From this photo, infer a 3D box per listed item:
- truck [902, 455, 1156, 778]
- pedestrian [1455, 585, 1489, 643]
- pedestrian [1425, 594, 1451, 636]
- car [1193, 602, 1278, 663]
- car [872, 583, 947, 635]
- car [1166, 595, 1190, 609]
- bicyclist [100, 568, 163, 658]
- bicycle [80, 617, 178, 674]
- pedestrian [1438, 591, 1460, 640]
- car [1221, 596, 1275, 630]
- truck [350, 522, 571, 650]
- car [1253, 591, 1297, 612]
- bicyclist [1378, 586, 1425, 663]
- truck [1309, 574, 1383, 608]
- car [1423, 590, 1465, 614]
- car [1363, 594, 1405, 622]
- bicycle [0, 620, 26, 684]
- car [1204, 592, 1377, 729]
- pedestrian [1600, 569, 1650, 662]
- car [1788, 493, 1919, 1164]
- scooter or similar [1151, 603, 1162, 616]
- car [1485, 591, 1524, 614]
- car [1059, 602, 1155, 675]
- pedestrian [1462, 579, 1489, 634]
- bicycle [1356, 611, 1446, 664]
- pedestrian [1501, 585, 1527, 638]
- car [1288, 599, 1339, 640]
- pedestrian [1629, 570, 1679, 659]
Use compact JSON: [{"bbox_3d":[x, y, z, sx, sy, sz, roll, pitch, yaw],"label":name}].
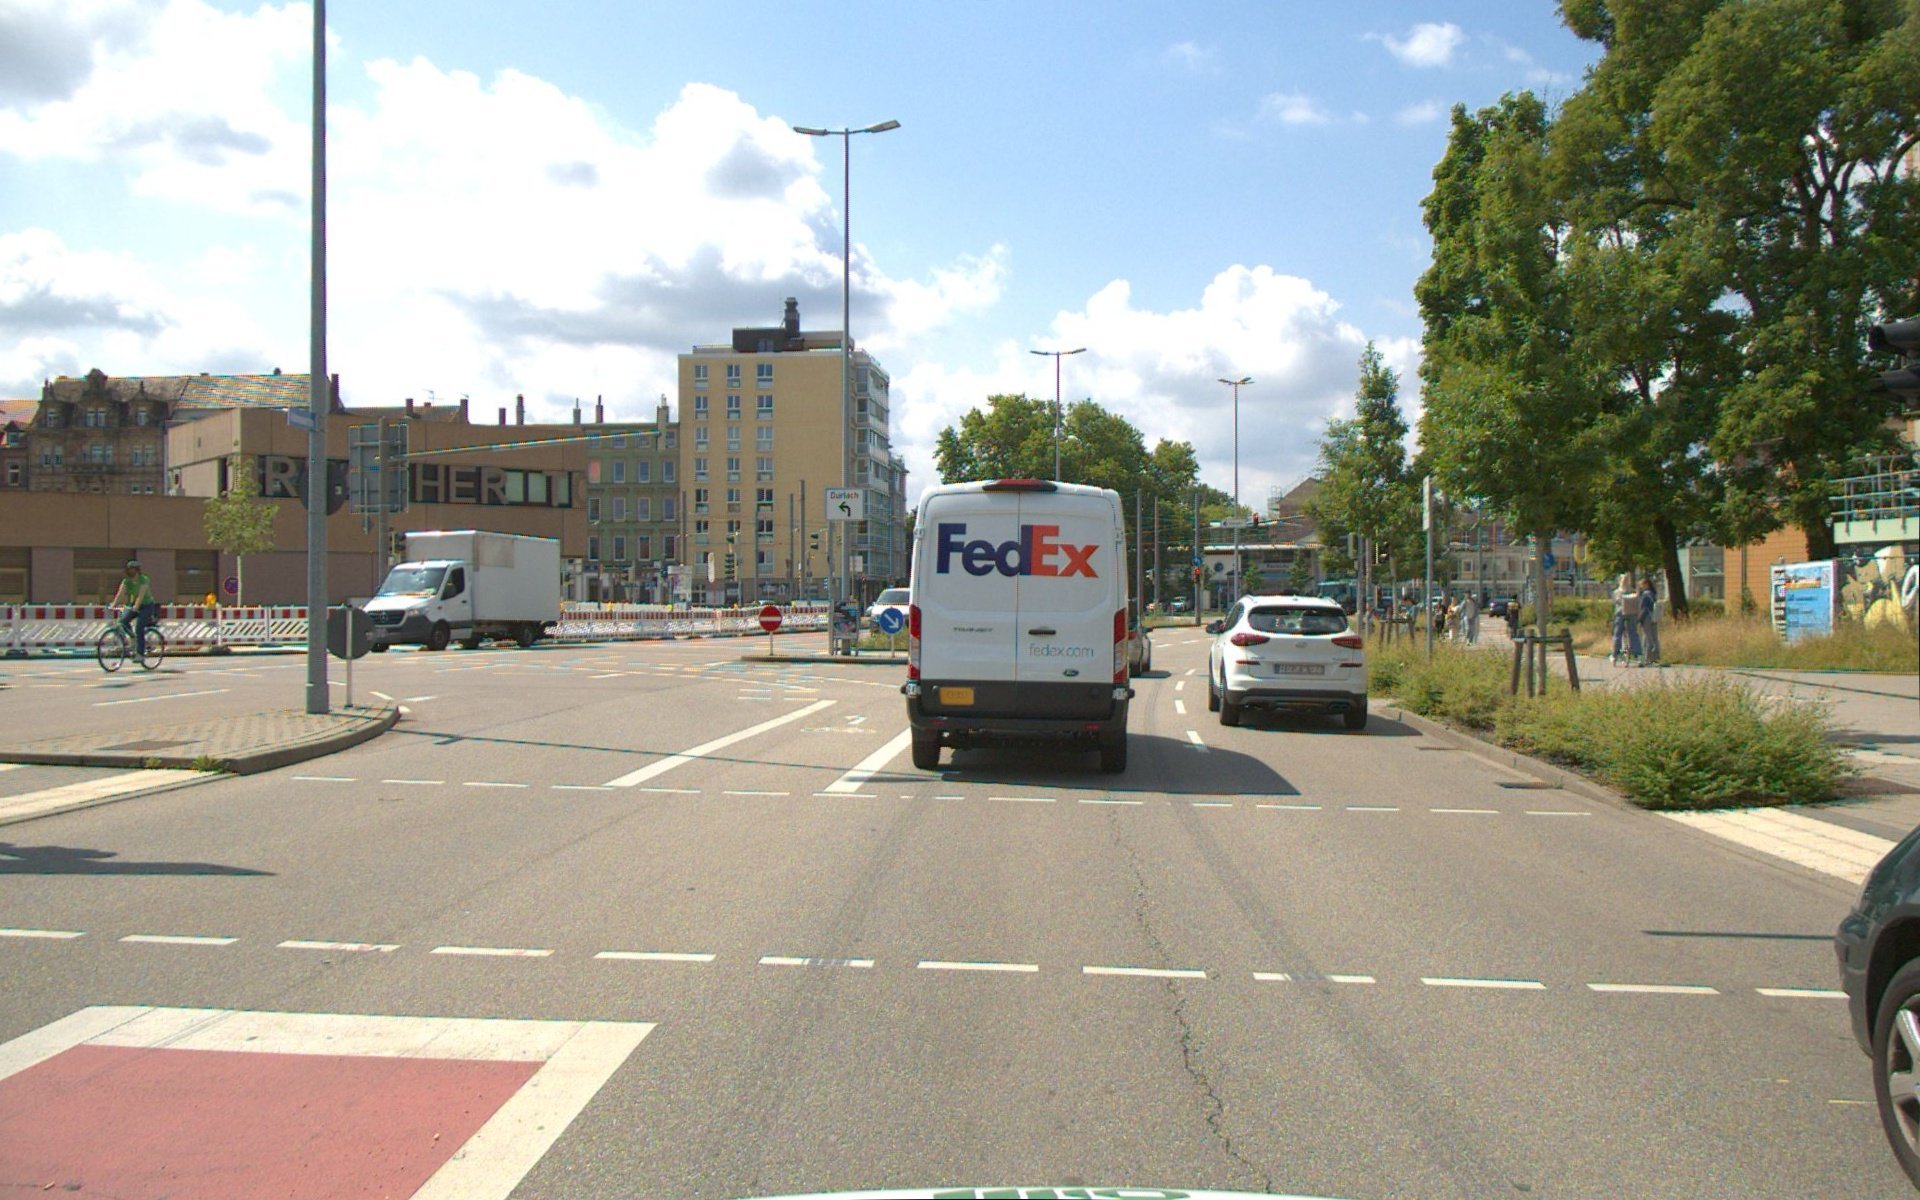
[{"bbox_3d":[0.726,0.147,16.866,2.092,2.686,5.919,1,0,3],"label":"truck"},{"bbox_3d":[16.845,0.449,54.432,0.740,1.853,0.780,-3,-1,0],"label":"pedestrian"},{"bbox_3d":[18.466,0.587,63.892,0.740,1.617,0.761,1,-1,0],"label":"pedestrian"},{"bbox_3d":[6.931,0.782,41.985,1.874,1.445,3.921,0,0,6],"label":"car"},{"bbox_3d":[-1.905,0.308,63.689,1.841,1.927,4.874,0,0,11],"label":"car"},{"bbox_3d":[25.251,0.237,191.305,1.952,1.601,4.179,1,-1,19],"label":"car"},{"bbox_3d":[-13.884,0.219,27.730,0.553,1.487,0.837,0,0,8],"label":"bicyclist"},{"bbox_3d":[-13.887,0.750,27.689,0.555,0.905,1.744,0,0,8],"label":"bicycle"},{"bbox_3d":[16.949,0.542,57.346,0.575,1.654,0.728,1,-1,6],"label":"pedestrian"},{"bbox_3d":[14.652,0.639,83.958,1.888,1.670,4.793,0,0,20],"label":"car"},{"bbox_3d":[-13.073,-0.293,44.046,1.951,3.121,7.335,1,-1,16],"label":"truck"},{"bbox_3d":[28.010,0.154,147.071,1.693,1.832,4.712,-1,-1,42],"label":"car"},{"bbox_3d":[9.613,0.544,36.017,0.810,1.629,0.580,-3,-2,5],"label":"bicyclist"},{"bbox_3d":[34.380,-0.776,147.025,2.841,2.902,8.745,0,0,40],"label":"truck"},{"bbox_3d":[34.423,0.134,117.502,1.847,1.670,3.946,0,0,33],"label":"car"},{"bbox_3d":[26.186,0.500,102.021,1.843,1.670,3.955,0,0,24],"label":"car"},{"bbox_3d":[-14.007,0.749,23.038,0.760,0.905,2.109,0,0,1],"label":"bicycle"},{"bbox_3d":[4.346,0.727,22.320,1.841,1.670,4.235,0,0,5],"label":"car"},{"bbox_3d":[13.356,0.302,33.244,0.734,1.834,0.610,-2,0,4],"label":"pedestrian"},{"bbox_3d":[3.377,0.628,2.789,1.757,1.753,4.449,2,0,1],"label":"car"},{"bbox_3d":[16.901,0.808,142.057,0.372,1.135,1.089,0,-1,40],"label":"scooter or similar"},{"bbox_3d":[40.881,0.151,124.138,1.847,1.670,3.946,0,0,33],"label":"car"},{"bbox_3d":[3.191,0.769,35.222,1.704,1.416,4.183,0,0,10],"label":"car"},{"bbox_3d":[17.745,0.232,56.966,0.740,1.853,0.638,1,-1,6],"label":"pedestrian"},{"bbox_3d":[9.597,0.821,36.011,1.771,1.068,0.592,-3,-2,5],"label":"bicycle"},{"bbox_3d":[19.786,0.411,59.093,0.740,1.853,0.674,1,-1,7],"label":"pedestrian"},{"bbox_3d":[14.871,0.783,69.489,1.841,1.670,3.960,0,0,16],"label":"car"},{"bbox_3d":[14.133,0.292,33.681,0.734,1.783,0.610,-2,0,4],"label":"pedestrian"}]
